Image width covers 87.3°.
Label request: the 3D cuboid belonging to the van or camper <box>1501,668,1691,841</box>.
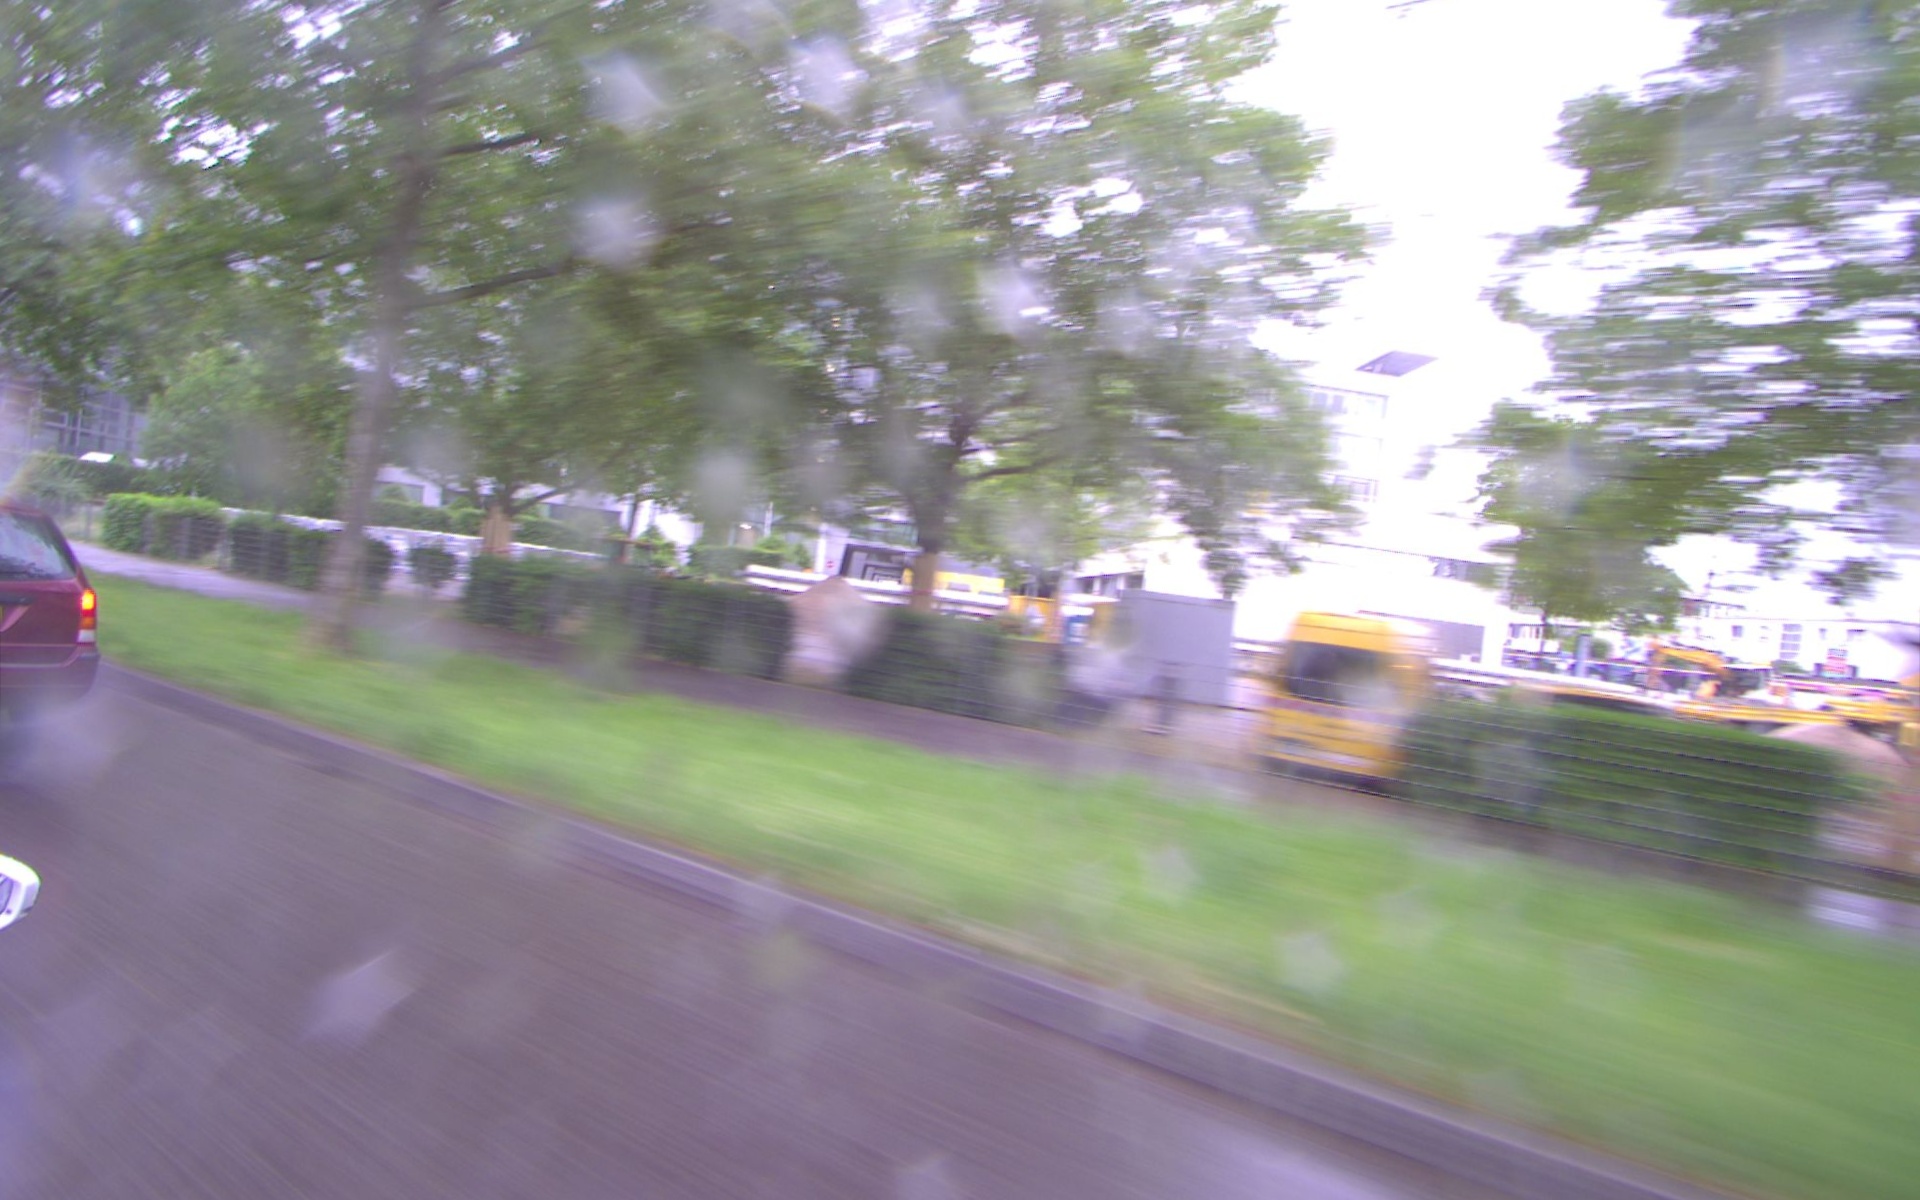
[{"bbox_3d":[9.145,2.136,14.789,1.770,1.929,3.998,7,-2,27],"label":"van or camper"}]

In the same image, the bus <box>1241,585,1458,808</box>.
[{"bbox_3d":[6.093,1.429,15.312,1.967,2.678,4.800,7,-1,32],"label":"bus"}]

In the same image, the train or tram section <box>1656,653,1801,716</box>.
[{"bbox_3d":[52.285,5.660,68.815,2.358,3.560,8.528,6,-2,-7],"label":"train or tram section"}]

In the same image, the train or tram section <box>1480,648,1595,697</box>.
[{"bbox_3d":[49.969,6.146,87.525,2.358,3.560,10.843,6,-2,-7],"label":"train or tram section"}]

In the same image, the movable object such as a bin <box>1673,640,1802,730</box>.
[{"bbox_3d":[37.127,4.038,48.100,3.566,3.670,3.301,6,0,-24],"label":"movable object such as a bin"}]

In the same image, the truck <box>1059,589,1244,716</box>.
[{"bbox_3d":[5.588,1.557,31.547,3.026,3.067,9.502,6,-2,-4],"label":"truck"}]

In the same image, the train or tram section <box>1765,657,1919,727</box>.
[{"bbox_3d":[53.326,5.443,60.377,2.358,3.560,8.368,6,-2,-7],"label":"train or tram section"}]

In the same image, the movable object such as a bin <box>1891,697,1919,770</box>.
[{"bbox_3d":[32.835,4.555,32.746,1.975,2.384,3.284,6,0,8],"label":"movable object such as a bin"}]

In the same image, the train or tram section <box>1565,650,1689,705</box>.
[{"bbox_3d":[51.206,5.876,77.607,2.358,3.560,9.109,6,-2,-7],"label":"train or tram section"}]

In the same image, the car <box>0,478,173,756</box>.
[{"bbox_3d":[-7.184,-0.107,6.506,4.042,1.554,1.843,6,-2,31],"label":"car"}]

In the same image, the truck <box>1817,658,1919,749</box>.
[{"bbox_3d":[41.404,4.667,42.000,9.300,3.384,2.497,7,-1,-4],"label":"truck"}]
